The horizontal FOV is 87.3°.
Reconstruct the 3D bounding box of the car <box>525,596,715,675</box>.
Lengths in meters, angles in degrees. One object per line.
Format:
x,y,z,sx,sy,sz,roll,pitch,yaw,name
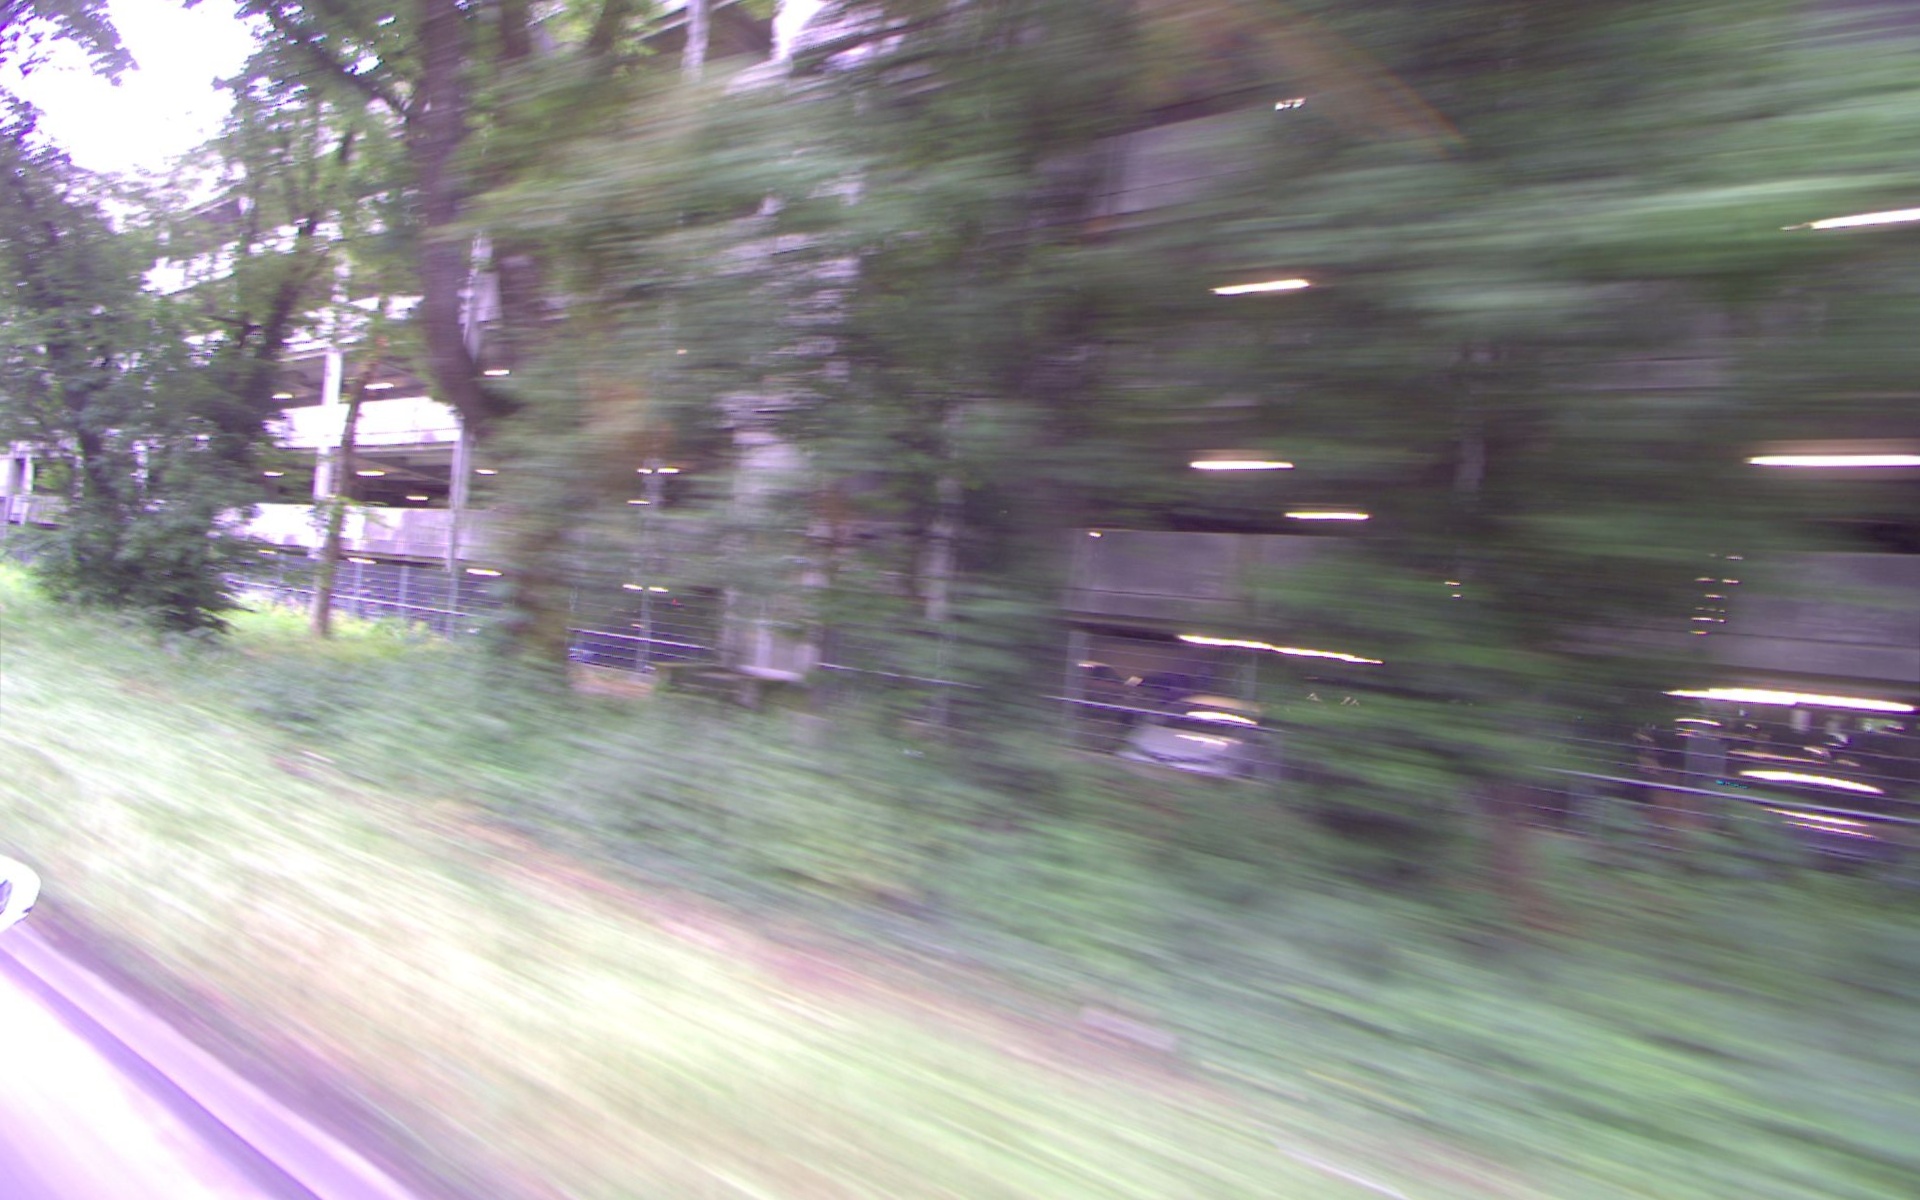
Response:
-8.104,0.900,24.313,1.833,1.551,3.991,6,-1,32,car

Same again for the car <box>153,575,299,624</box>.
-27.965,0.013,38.446,1.918,1.453,4.009,5,-2,32,car

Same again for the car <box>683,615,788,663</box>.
-8.340,1.487,37.594,1.646,1.497,3.665,5,-1,33,car

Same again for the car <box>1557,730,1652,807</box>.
13.618,3.502,21.301,1.498,1.190,3.336,4,-2,33,car

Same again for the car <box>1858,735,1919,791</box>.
28.606,4.936,30.427,1.498,1.381,3.766,5,-1,34,car

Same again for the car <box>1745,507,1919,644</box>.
10.209,-0.227,11.761,1.335,1.261,2.890,4,-2,34,car

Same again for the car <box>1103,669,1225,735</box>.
5.636,2.751,27.410,1.796,1.433,4.064,6,-1,32,car

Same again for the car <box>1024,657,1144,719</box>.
3.714,2.566,29.479,1.796,1.469,4.064,6,-1,32,car

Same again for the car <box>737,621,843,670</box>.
-6.086,1.681,36.273,1.646,1.501,3.665,5,-1,33,car

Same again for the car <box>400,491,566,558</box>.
-13.578,-2.129,28.824,1.805,1.360,3.830,6,-1,38,car

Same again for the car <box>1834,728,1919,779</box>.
31.635,5.274,34.806,1.498,1.343,3.766,5,-1,34,car

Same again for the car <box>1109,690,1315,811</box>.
4.135,2.251,15.927,1.684,1.473,4.445,4,-2,34,car

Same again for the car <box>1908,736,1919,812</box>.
22.869,4.062,22.254,1.968,1.748,3.991,4,-2,33,car
